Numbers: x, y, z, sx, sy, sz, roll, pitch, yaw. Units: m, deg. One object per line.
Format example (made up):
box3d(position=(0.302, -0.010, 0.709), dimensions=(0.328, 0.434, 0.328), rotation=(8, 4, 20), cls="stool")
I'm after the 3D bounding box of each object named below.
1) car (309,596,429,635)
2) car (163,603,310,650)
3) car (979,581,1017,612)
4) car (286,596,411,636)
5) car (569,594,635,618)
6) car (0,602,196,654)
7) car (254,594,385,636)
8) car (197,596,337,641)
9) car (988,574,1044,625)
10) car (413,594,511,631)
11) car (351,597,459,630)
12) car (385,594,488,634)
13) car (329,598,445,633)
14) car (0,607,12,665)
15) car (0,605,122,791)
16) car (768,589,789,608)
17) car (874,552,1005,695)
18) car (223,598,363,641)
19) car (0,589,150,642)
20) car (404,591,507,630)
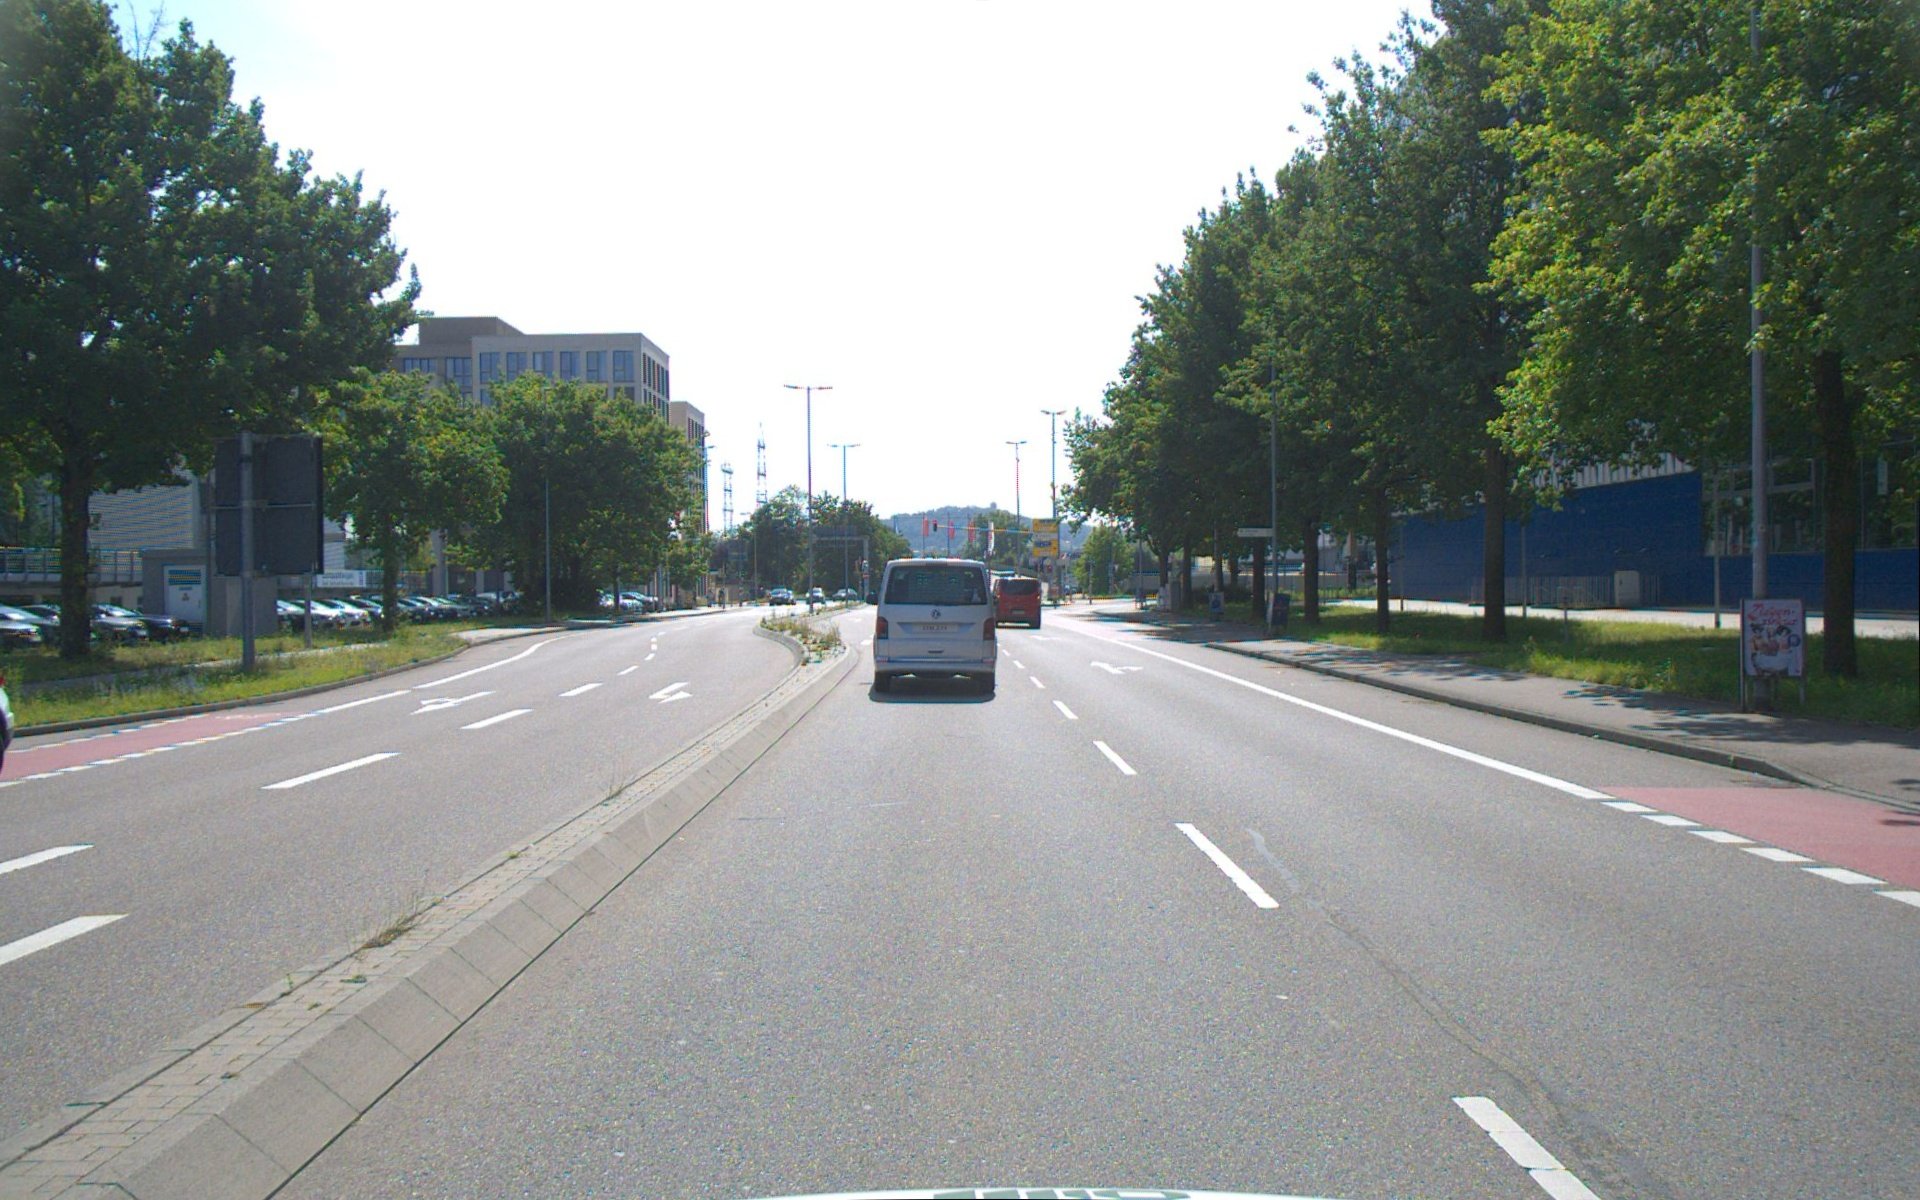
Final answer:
box3d(position=(-23.840, 0.599, 66.851), dimensions=(4.091, 1.211, 1.954), rotation=(-4, 1, -3), cls="car")
box3d(position=(-23.666, 0.843, 54.195), dimensions=(3.909, 1.176, 1.896), rotation=(-4, 1, -3), cls="car")
box3d(position=(1.904, -0.194, 84.099), dimensions=(1.711, 1.484, 4.475), rotation=(0, 1, -1), cls="car")
box3d(position=(-23.866, 0.603, 64.671), dimensions=(4.091, 1.211, 1.954), rotation=(-4, 1, -3), cls="car")
box3d(position=(-23.409, 0.383, 108.214), dimensions=(3.794, 1.186, 1.912), rotation=(-4, 1, 2), cls="car")
box3d(position=(-24.061, 0.759, 46.297), dimensions=(4.410, 1.312, 1.918), rotation=(-1, 0, -3), cls="car")
box3d(position=(-23.925, 0.550, 61.911), dimensions=(4.091, 1.211, 1.954), rotation=(-4, 1, -3), cls="car")
box3d(position=(-23.668, 0.626, 56.588), dimensions=(3.909, 1.176, 1.896), rotation=(-4, 1, -3), cls="car")
box3d(position=(2.257, -0.055, 67.637), dimensions=(1.928, 2.002, 5.123), rotation=(0, 0, -2), cls="car")
box3d(position=(-24.175, 0.602, 80.324), dimensions=(4.056, 1.467, 2.000), rotation=(-5, 0, -1), cls="car")
box3d(position=(-23.861, 0.576, 71.168), dimensions=(4.027, 1.052, 1.696), rotation=(-4, 1, -3), cls="car")
box3d(position=(-23.757, 0.641, 75.163), dimensions=(3.907, 1.467, 2.000), rotation=(-5, 0, -1), cls="car")
box3d(position=(-23.860, 0.627, 68.972), dimensions=(4.091, 1.096, 1.954), rotation=(-4, 1, -3), cls="car")
box3d(position=(-24.040, 0.870, 37.052), dimensions=(4.410, 1.312, 1.918), rotation=(-1, 0, -3), cls="car")
box3d(position=(-9.618, 0.935, 14.789), dimensions=(1.952, 1.646, 4.106), rotation=(-2, 0, 3), cls="car")
box3d(position=(-17.325, -0.155, 157.788), dimensions=(1.704, 1.646, 4.206), rotation=(-4, 1, -3), cls="car")
box3d(position=(-0.326, 0.324, 25.606), dimensions=(1.846, 2.025, 3.999), rotation=(0, 0, -1), cls="car")
box3d(position=(-23.851, 0.694, 59.268), dimensions=(4.091, 1.176, 2.086), rotation=(-4, 1, -3), cls="car")
box3d(position=(-23.930, 0.402, 43.290), dimensions=(4.410, 1.312, 2.003), rotation=(-1, 0, -3), cls="car")
box3d(position=(-23.798, 0.495, 78.079), dimensions=(4.163, 1.467, 2.000), rotation=(-5, 0, -1), cls="car")
